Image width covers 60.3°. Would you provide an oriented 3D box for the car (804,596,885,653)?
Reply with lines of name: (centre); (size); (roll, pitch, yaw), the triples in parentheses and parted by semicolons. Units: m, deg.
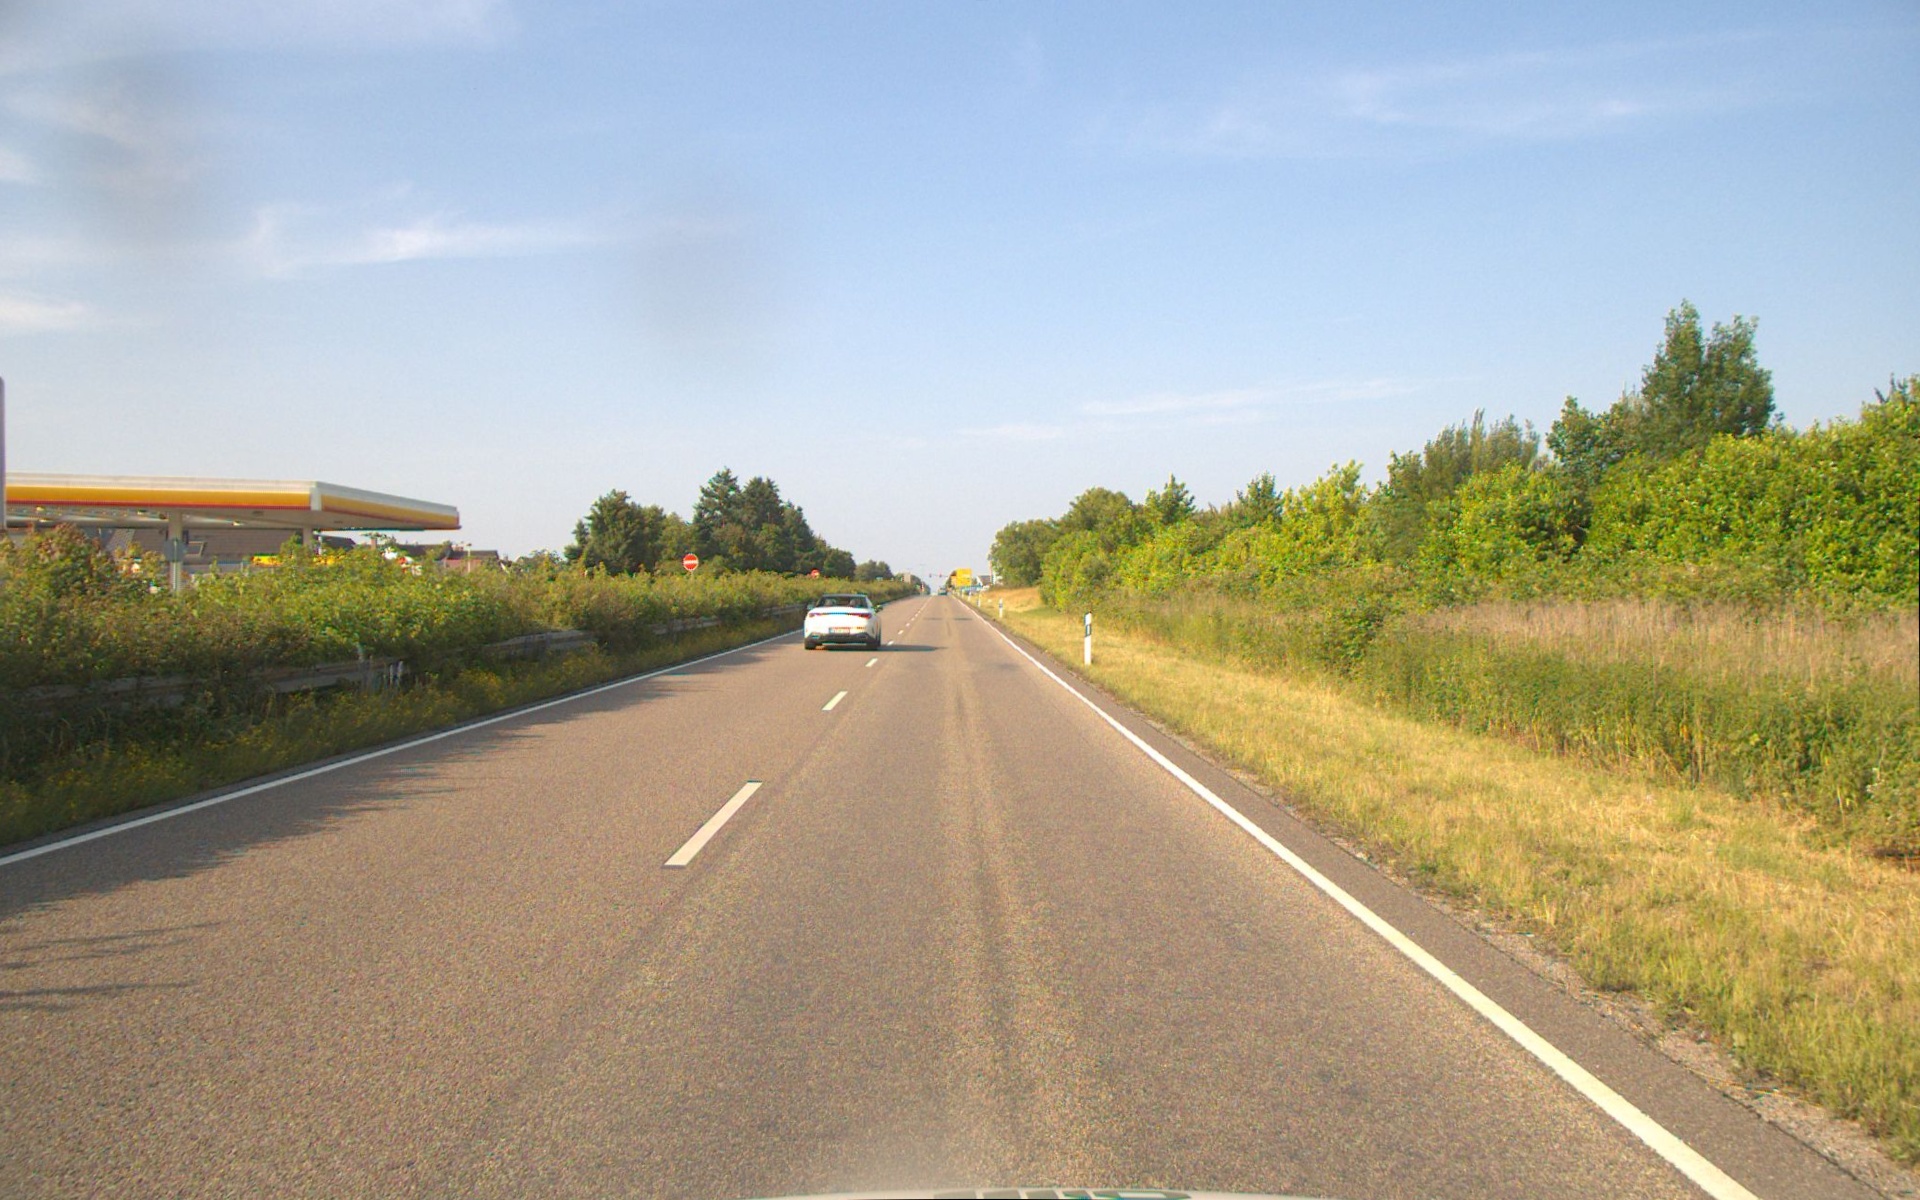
car: (-2.918, 0.601, 42.728); (1.735, 1.361, 4.949); (1, 0, 0)
